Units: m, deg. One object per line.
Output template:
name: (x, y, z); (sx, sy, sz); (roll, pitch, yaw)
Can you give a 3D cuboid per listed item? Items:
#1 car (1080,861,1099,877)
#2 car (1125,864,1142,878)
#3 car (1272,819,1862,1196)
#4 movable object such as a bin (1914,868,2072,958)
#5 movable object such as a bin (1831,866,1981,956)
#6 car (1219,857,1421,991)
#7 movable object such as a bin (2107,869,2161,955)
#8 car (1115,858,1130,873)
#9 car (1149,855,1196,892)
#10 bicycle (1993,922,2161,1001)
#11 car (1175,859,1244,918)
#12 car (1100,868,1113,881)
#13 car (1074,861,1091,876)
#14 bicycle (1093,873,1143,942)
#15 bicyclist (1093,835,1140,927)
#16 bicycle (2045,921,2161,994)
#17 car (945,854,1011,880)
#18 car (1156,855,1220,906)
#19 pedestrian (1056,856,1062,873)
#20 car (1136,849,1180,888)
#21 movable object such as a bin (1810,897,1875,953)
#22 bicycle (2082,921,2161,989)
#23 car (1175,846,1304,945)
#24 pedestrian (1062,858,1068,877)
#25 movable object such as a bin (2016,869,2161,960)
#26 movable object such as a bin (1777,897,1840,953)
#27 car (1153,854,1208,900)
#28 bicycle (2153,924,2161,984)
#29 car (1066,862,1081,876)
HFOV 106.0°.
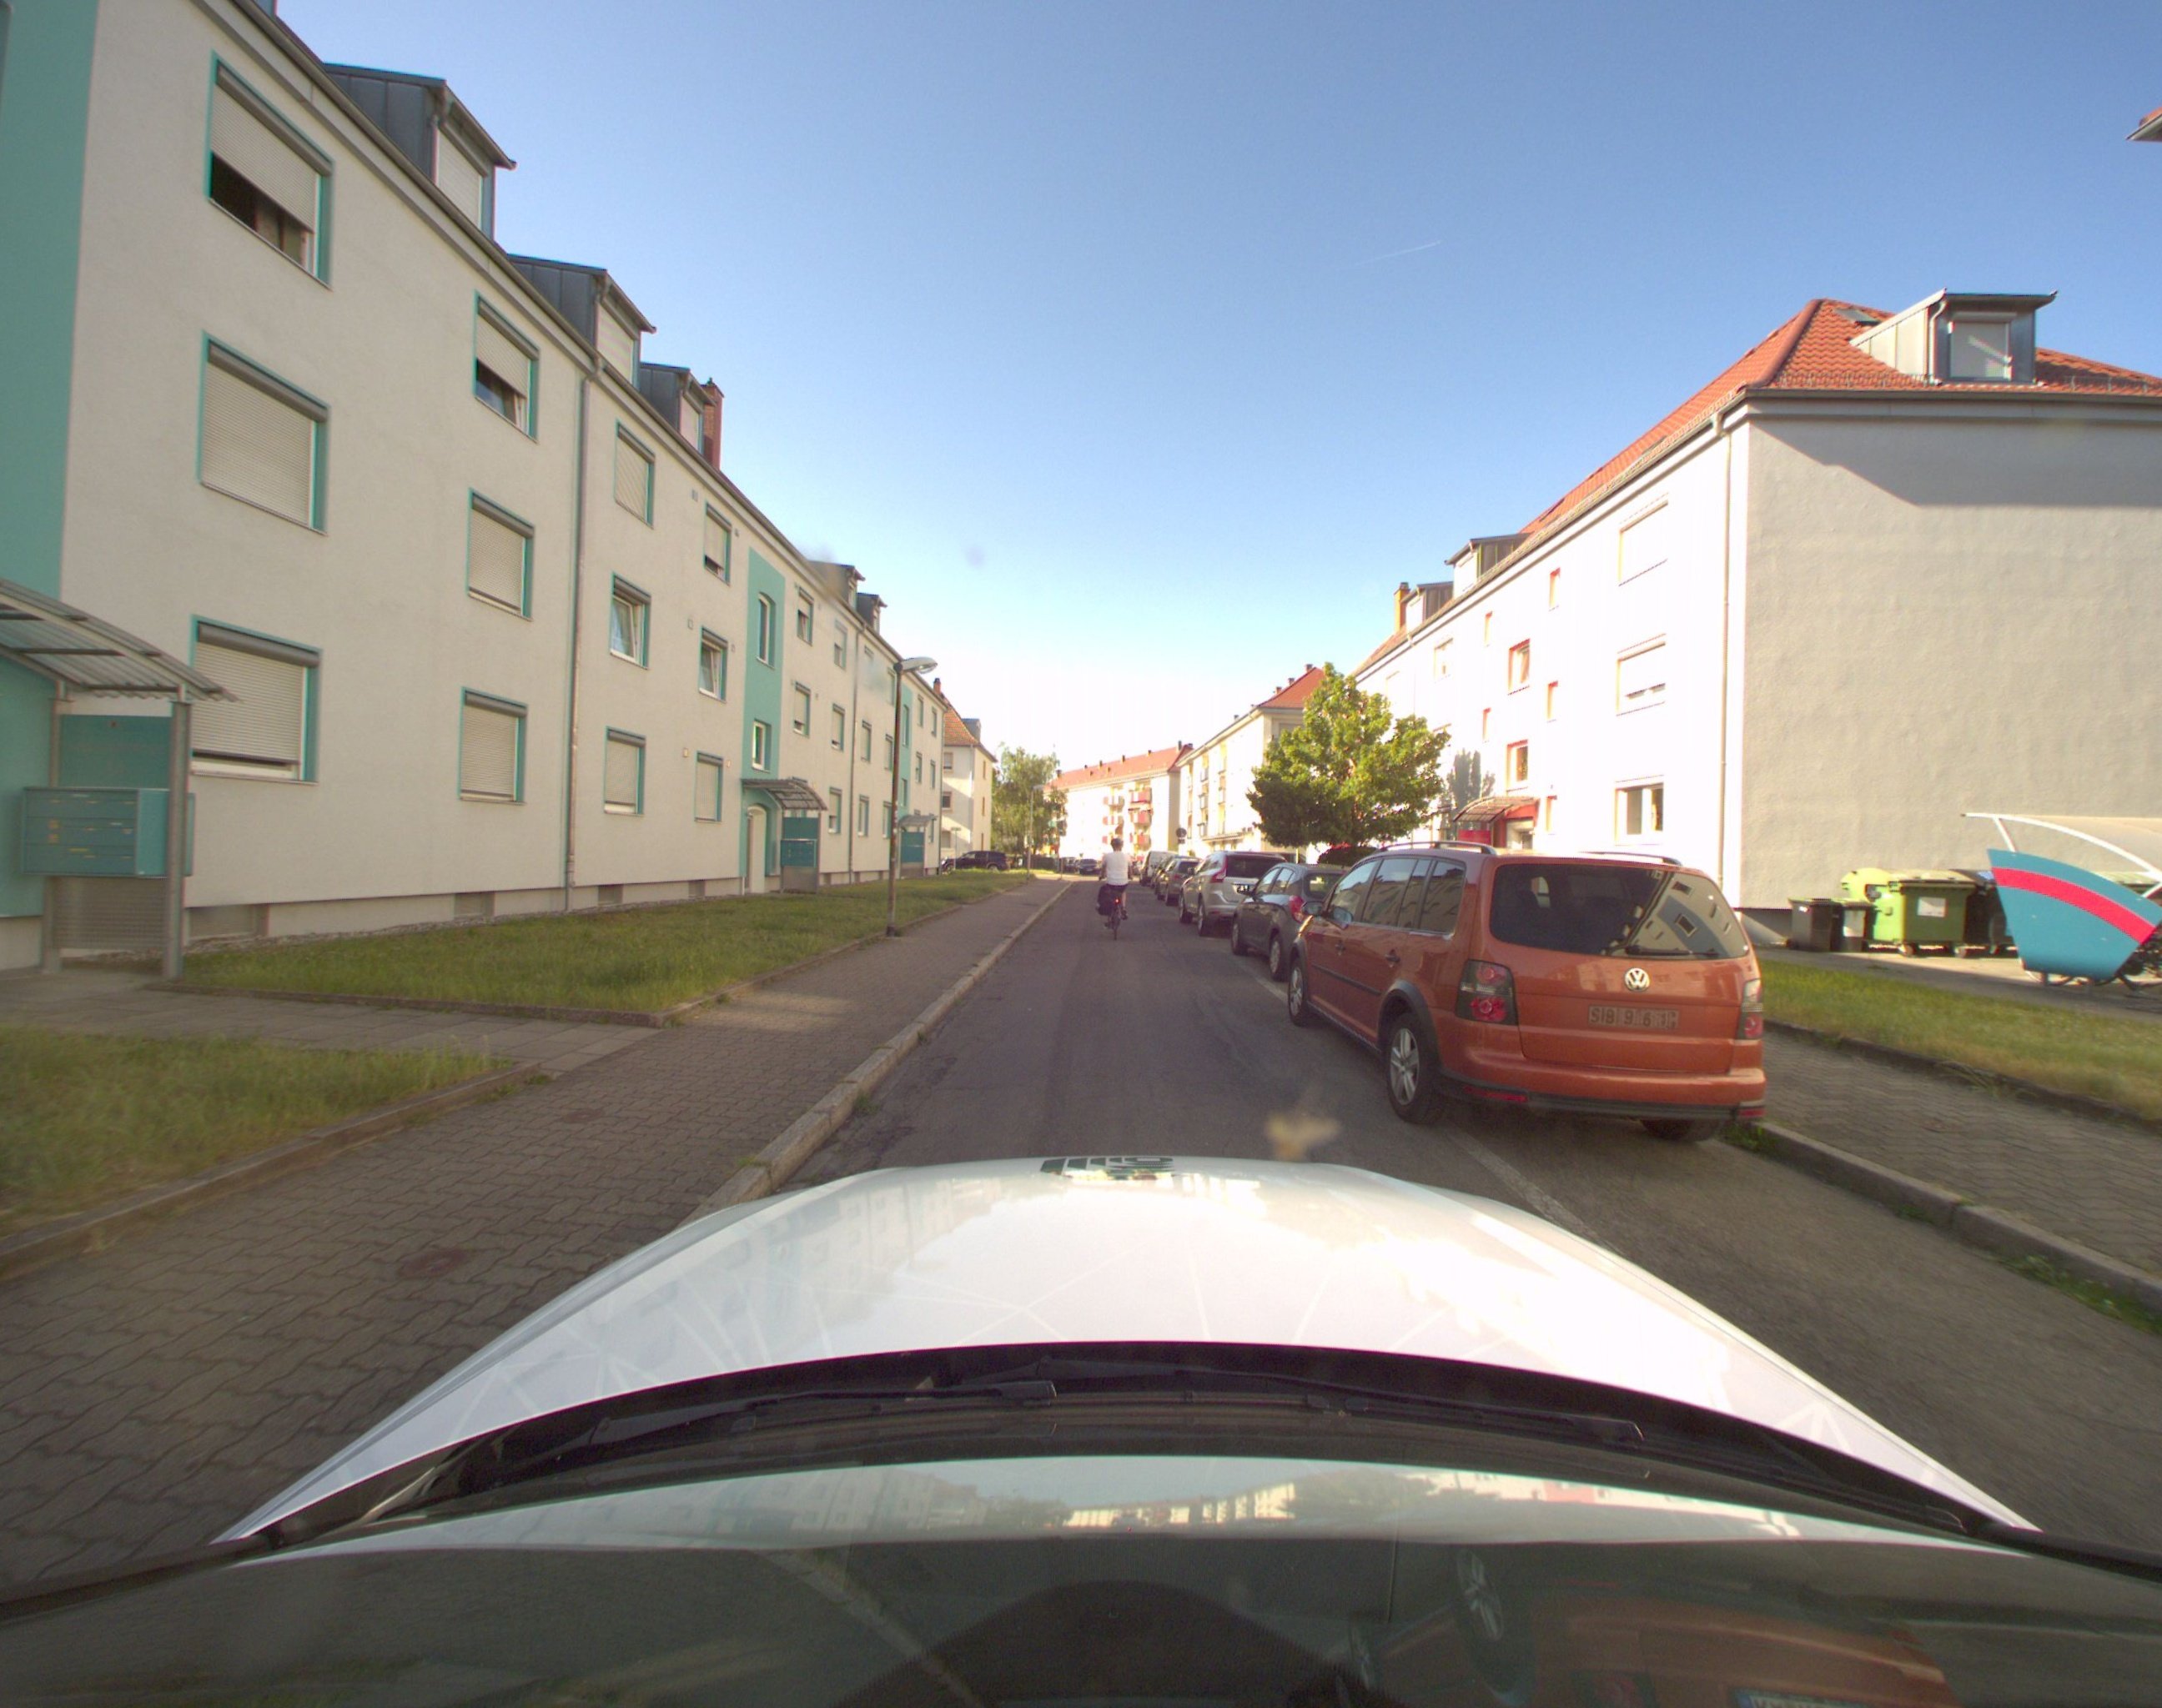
car: (0.716, 1.338, 73.166); (1.466, 1.335, 3.137); (-2, 0, -3)
car: (5.293, 1.682, 82.509); (1.465, 1.335, 3.140); (2, 0, -1)
car: (2.814, 0.738, 5.968); (1.855, 1.668, 4.128); (4, 0, 1)
movable object such as a bin: (15.393, 0.969, 13.795); (1.355, 1.416, 1.188); (1, 0, 1)
movable object such as a bin: (13.910, 0.930, 13.785); (1.355, 1.416, 1.188); (1, 0, 1)
car: (3.153, 0.838, 11.552); (1.613, 1.460, 3.839); (4, 0, -1)
movable object such as a bin: (18.380, 0.970, 13.576); (1.061, 1.416, 1.188); (1, 0, 1)
car: (4.526, 1.261, 89.515); (1.377, 1.497, 3.076); (2, 0, -1)
car: (3.926, 0.806, 35.345); (1.554, 1.453, 3.365); (2, 0, -1)
bicycle: (12.456, 1.290, 10.010); (0.452, 0.740, 1.870); (1, 0, 2)
car: (3.393, 0.864, 21.950); (1.386, 1.403, 3.245); (2, 0, 1)
car: (3.216, 2.575, 101.815); (1.465, 1.516, 3.076); (2, 0, -1)
car: (0.155, 1.337, 77.548); (1.466, 1.335, 3.138); (-2, 0, -3)
bicycle: (0.649, 0.946, 15.108); (0.806, 1.128, 2.101); (0, 0, -1)
bicyclist: (0.642, 0.478, 15.060); (0.806, 1.643, 0.898); (0, 0, -1)
bicycle: (12.924, 1.265, 9.860); (0.452, 0.768, 1.781); (1, 0, 2)
car: (-6.864, 0.870, 54.527); (4.221, 1.638, 1.581); (1, 0, -3)
car: (3.315, 0.789, 25.809); (1.553, 1.411, 3.934); (2, 0, 1)
pedestrian: (-1.873, 0.927, 69.246); (0.433, 1.427, 0.543); (2, 0, 1)
car: (3.736, 0.684, 39.947); (1.669, 1.738, 3.941); (2, 0, -1)
movable object such as a bin: (12.960, 1.203, 13.878); (0.521, 0.886, 0.633); (1, 0, 2)
bicycle: (13.463, 1.273, 9.902); (0.452, 0.759, 1.789); (1, 0, 2)
car: (3.055, 0.726, 16.555); (1.695, 1.671, 4.379); (3, 0, 0)
pedestrian: (-1.378, 1.136, 69.332); (0.433, 1.574, 0.543); (2, 0, 1)
movable object such as a bin: (16.913, 0.978, 13.555); (1.355, 1.416, 1.188); (1, 0, 1)
movable object such as a bin: (12.405, 1.206, 13.902); (0.521, 0.886, 0.633); (1, 0, 2)
car: (3.663, 0.809, 30.434); (1.554, 1.576, 3.365); (2, 0, -1)
bicycle: (14.035, 1.282, 9.659); (0.452, 0.759, 1.711); (1, 0, 2)
car: (-0.782, 1.522, 84.210); (1.465, 1.335, 3.139); (-2, 0, -1)
